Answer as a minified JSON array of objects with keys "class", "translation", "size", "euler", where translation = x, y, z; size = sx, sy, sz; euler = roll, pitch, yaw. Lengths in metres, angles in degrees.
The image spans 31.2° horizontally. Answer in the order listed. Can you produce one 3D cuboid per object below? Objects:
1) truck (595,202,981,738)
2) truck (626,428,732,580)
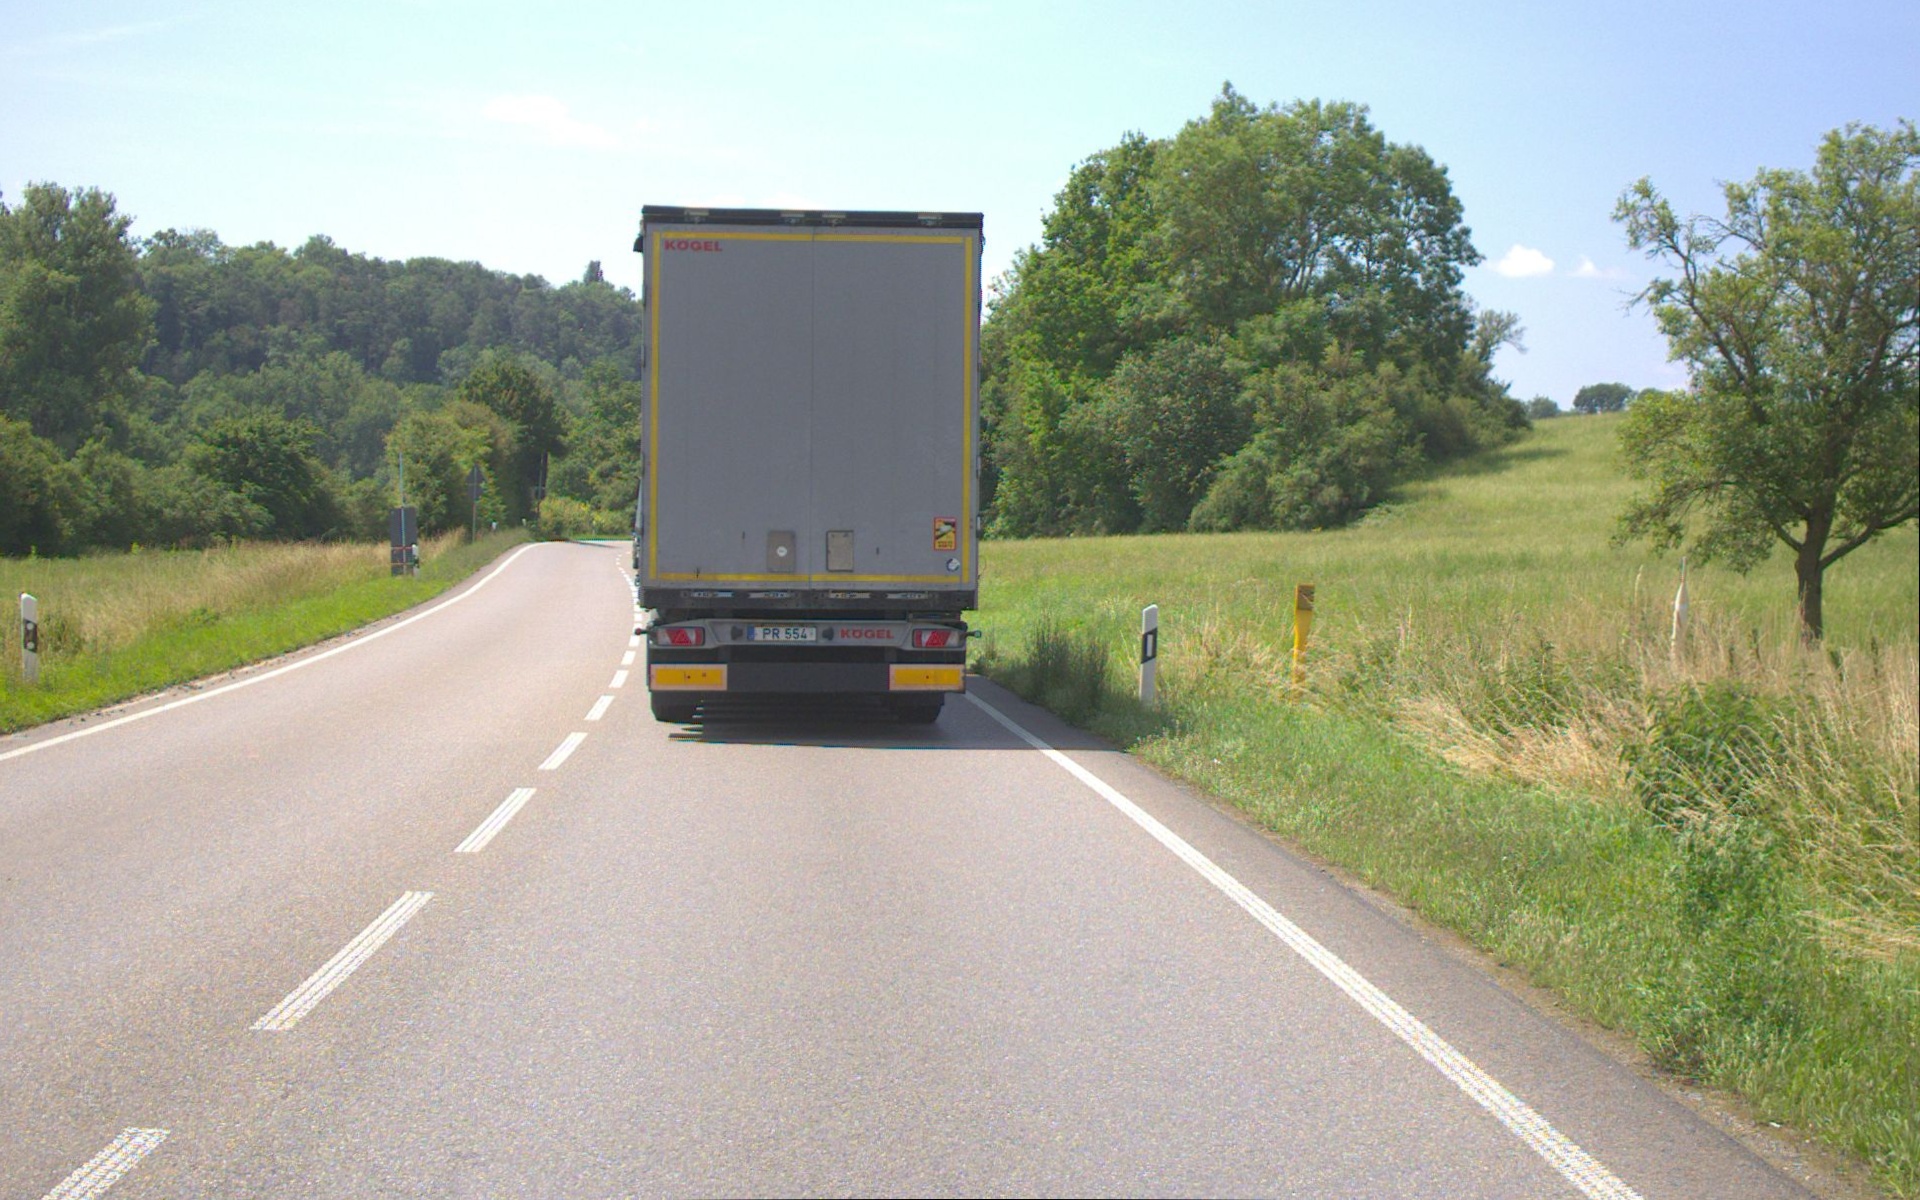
[{"class":"truck","translation":[-1.586,-1.061,30.288],"size":[2.807,3.932,9.592],"euler":[1,1,-4]},{"class":"truck","translation":[-9.442,-3.088,114.044],"size":[2.960,4.568,16.319],"euler":[3,1,-6]}]
